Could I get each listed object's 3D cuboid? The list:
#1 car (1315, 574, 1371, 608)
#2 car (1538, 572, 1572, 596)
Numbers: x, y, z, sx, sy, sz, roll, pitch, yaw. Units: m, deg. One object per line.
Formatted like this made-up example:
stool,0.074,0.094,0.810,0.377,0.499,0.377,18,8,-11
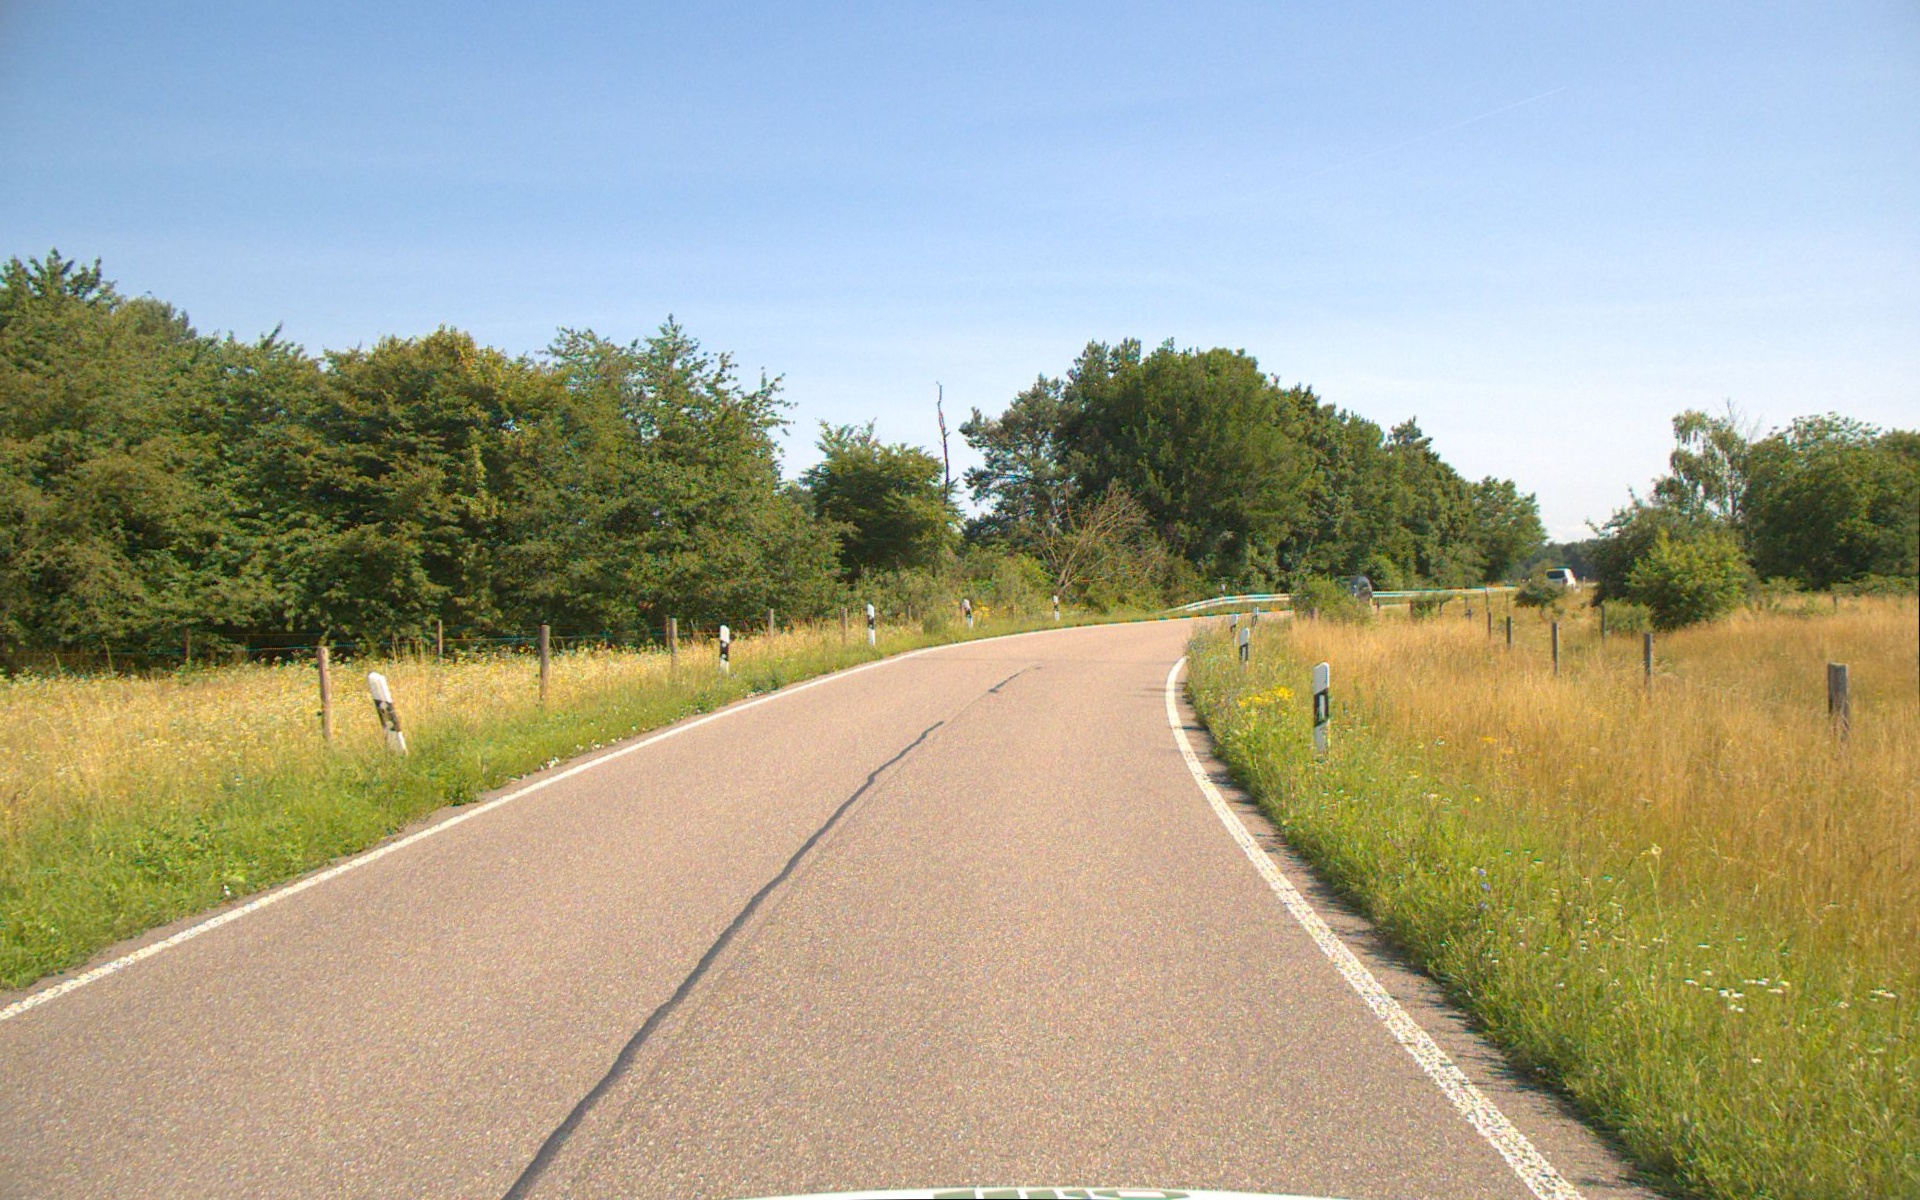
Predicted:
car,19.426,-0.445,83.778,1.750,1.660,4.154,1,0,28
car,46.292,-1.235,128.672,1.925,1.834,4.154,1,0,28
